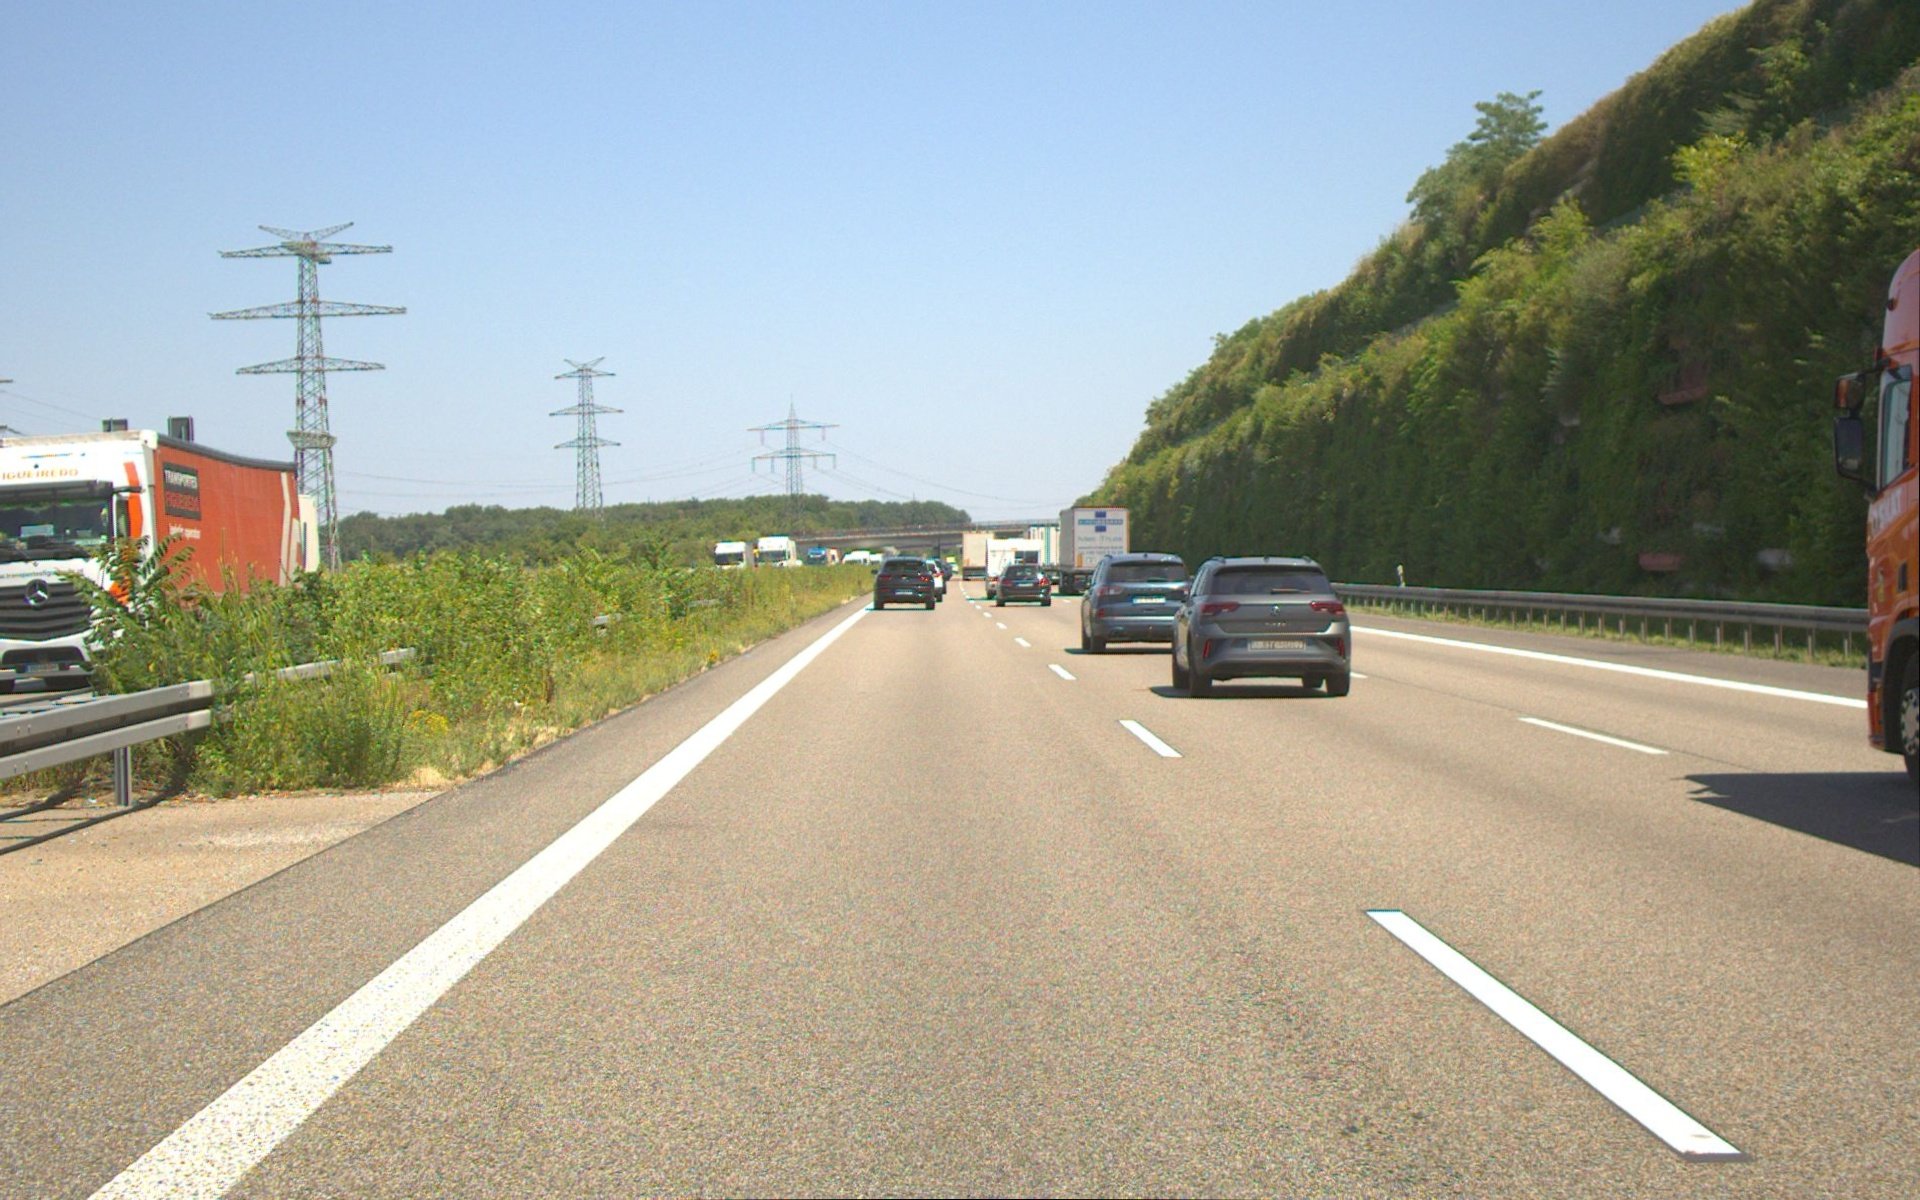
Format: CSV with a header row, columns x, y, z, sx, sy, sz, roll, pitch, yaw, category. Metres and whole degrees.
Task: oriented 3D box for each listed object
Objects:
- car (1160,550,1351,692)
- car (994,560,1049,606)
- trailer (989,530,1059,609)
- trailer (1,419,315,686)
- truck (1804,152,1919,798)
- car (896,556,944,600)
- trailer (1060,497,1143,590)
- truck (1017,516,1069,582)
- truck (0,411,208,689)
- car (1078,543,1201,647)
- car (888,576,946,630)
x,y,z,sx,sy,sz,roll,pitch,yaw,category
3.325,0.205,39.299,1.749,1.520,3.995,-1,1,-1,car
2.135,-0.613,119.862,1.830,1.520,4.000,-2,1,0,car
2.678,-1.322,146.809,2.610,3.202,9.953,-1,1,-1,trailer
-14.287,-0.867,62.648,2.591,4.223,14.330,-2,1,-1,trailer
7.234,-0.770,20.661,2.617,3.979,6.527,-1,1,-1,truck
-1.585,-0.868,136.335,1.830,1.665,4.000,-2,1,-1,car
6.564,-2.608,161.431,3.183,4.107,13.432,-1,1,0,trailer
5.575,-3.443,232.568,3.119,4.265,11.934,-1,1,0,truck
-14.164,-0.788,55.562,2.600,4.197,5.909,-2,1,0,truck
2.969,-0.106,57.545,1.794,1.647,4.138,-1,1,0,car
-1.403,0.077,112.867,1.830,1.665,4.000,-2,1,-1,car
